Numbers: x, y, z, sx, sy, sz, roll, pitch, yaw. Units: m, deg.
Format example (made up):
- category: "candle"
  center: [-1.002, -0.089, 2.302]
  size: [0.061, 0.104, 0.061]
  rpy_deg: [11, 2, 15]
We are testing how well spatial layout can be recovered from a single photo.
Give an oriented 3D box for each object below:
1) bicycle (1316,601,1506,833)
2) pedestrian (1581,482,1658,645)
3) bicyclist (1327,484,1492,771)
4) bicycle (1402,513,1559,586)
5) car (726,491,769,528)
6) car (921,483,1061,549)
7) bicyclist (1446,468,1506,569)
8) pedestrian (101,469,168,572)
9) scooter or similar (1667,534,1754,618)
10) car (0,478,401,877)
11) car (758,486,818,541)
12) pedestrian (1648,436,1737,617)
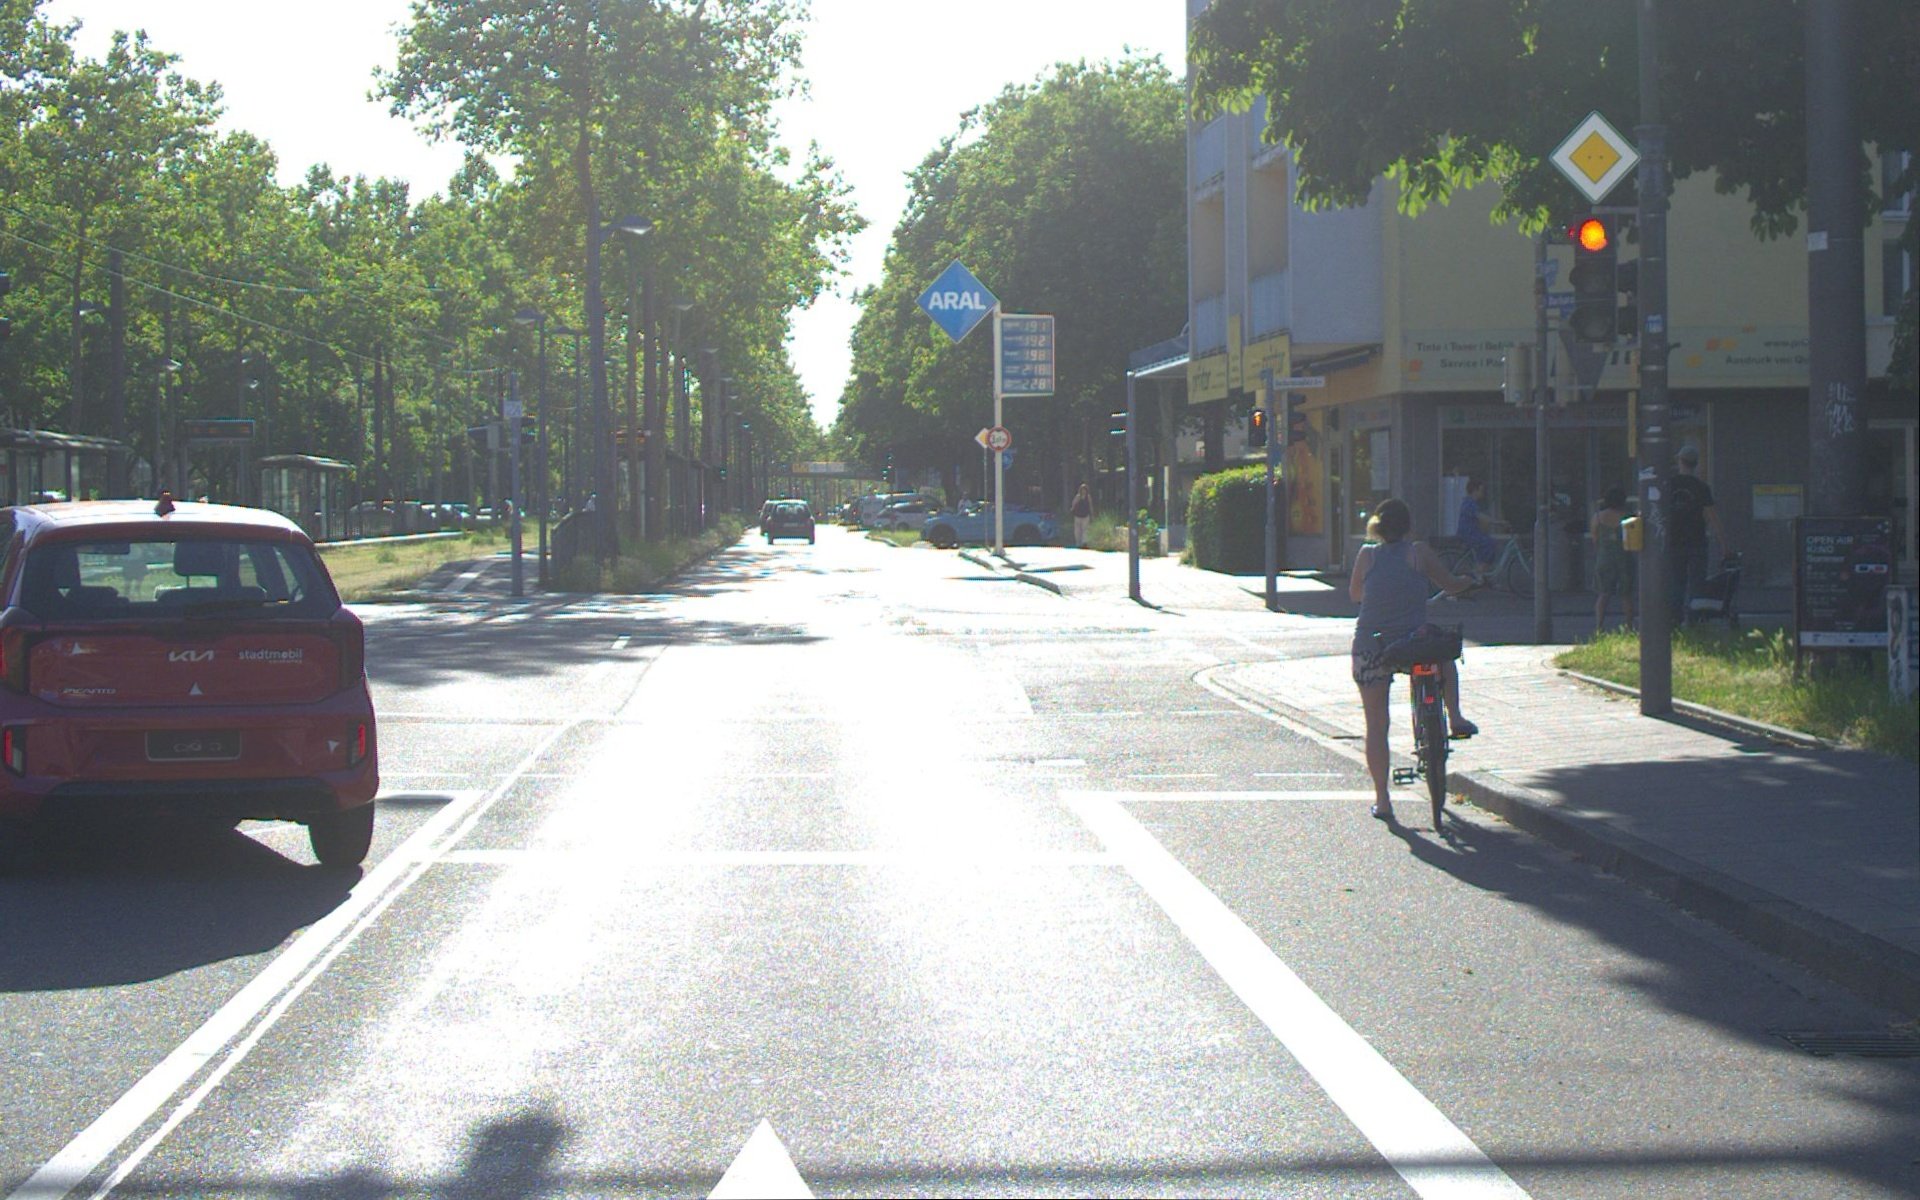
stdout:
- category: "bicycle"
  center: [2.124, 0.526, 16.385]
  size: [0.648, 0.969, 1.804]
  rpy_deg: [2, 2, 0]
- category: "pedestrian"
  center: [6.252, -0.350, 32.597]
  size: [0.647, 1.517, 0.496]
  rpy_deg: [2, 2, 10]
- category: "bicyclist"
  center: [2.143, 0.118, 16.468]
  size: [0.638, 1.318, 0.803]
  rpy_deg: [2, 2, 0]
- category: "bicycle"
  center: [7.755, -0.756, 51.238]
  size: [2.253, 0.984, 0.788]
  rpy_deg: [1, 7, 13]
- category: "car"
  center: [-9.859, -4.197, 159.496]
  size: [1.893, 1.605, 4.501]
  rpy_deg: [2, 2, -4]
- category: "car"
  center: [0.959, -2.584, 105.488]
  size: [3.988, 1.853, 2.011]
  rpy_deg: [2, 2, 8]
- category: "bicyclist"
  center: [7.693, -1.222, 51.261]
  size: [0.769, 1.466, 0.897]
  rpy_deg: [-1, 3, 15]
- category: "pedestrian"
  center: [-13.175, -1.264, 54.856]
  size: [0.891, 1.601, 0.613]
  rpy_deg: [2, 2, -2]
- category: "scooter or similar"
  center: [6.944, -0.225, 31.843]
  size: [0.597, 0.735, 0.681]
  rpy_deg: [2, 2, -3]
- category: "car"
  center: [-3.717, 0.239, 15.034]
  size: [1.694, 1.503, 3.700]
  rpy_deg: [1, 2, -22]
- category: "car"
  center: [-6.068, -3.061, 121.049]
  size: [1.968, 1.853, 4.001]
  rpy_deg: [2, 2, -4]
- category: "pedestrian"
  center: [6.917, -0.696, 32.485]
  size: [0.730, 1.676, 0.532]
  rpy_deg: [2, 2, 10]
